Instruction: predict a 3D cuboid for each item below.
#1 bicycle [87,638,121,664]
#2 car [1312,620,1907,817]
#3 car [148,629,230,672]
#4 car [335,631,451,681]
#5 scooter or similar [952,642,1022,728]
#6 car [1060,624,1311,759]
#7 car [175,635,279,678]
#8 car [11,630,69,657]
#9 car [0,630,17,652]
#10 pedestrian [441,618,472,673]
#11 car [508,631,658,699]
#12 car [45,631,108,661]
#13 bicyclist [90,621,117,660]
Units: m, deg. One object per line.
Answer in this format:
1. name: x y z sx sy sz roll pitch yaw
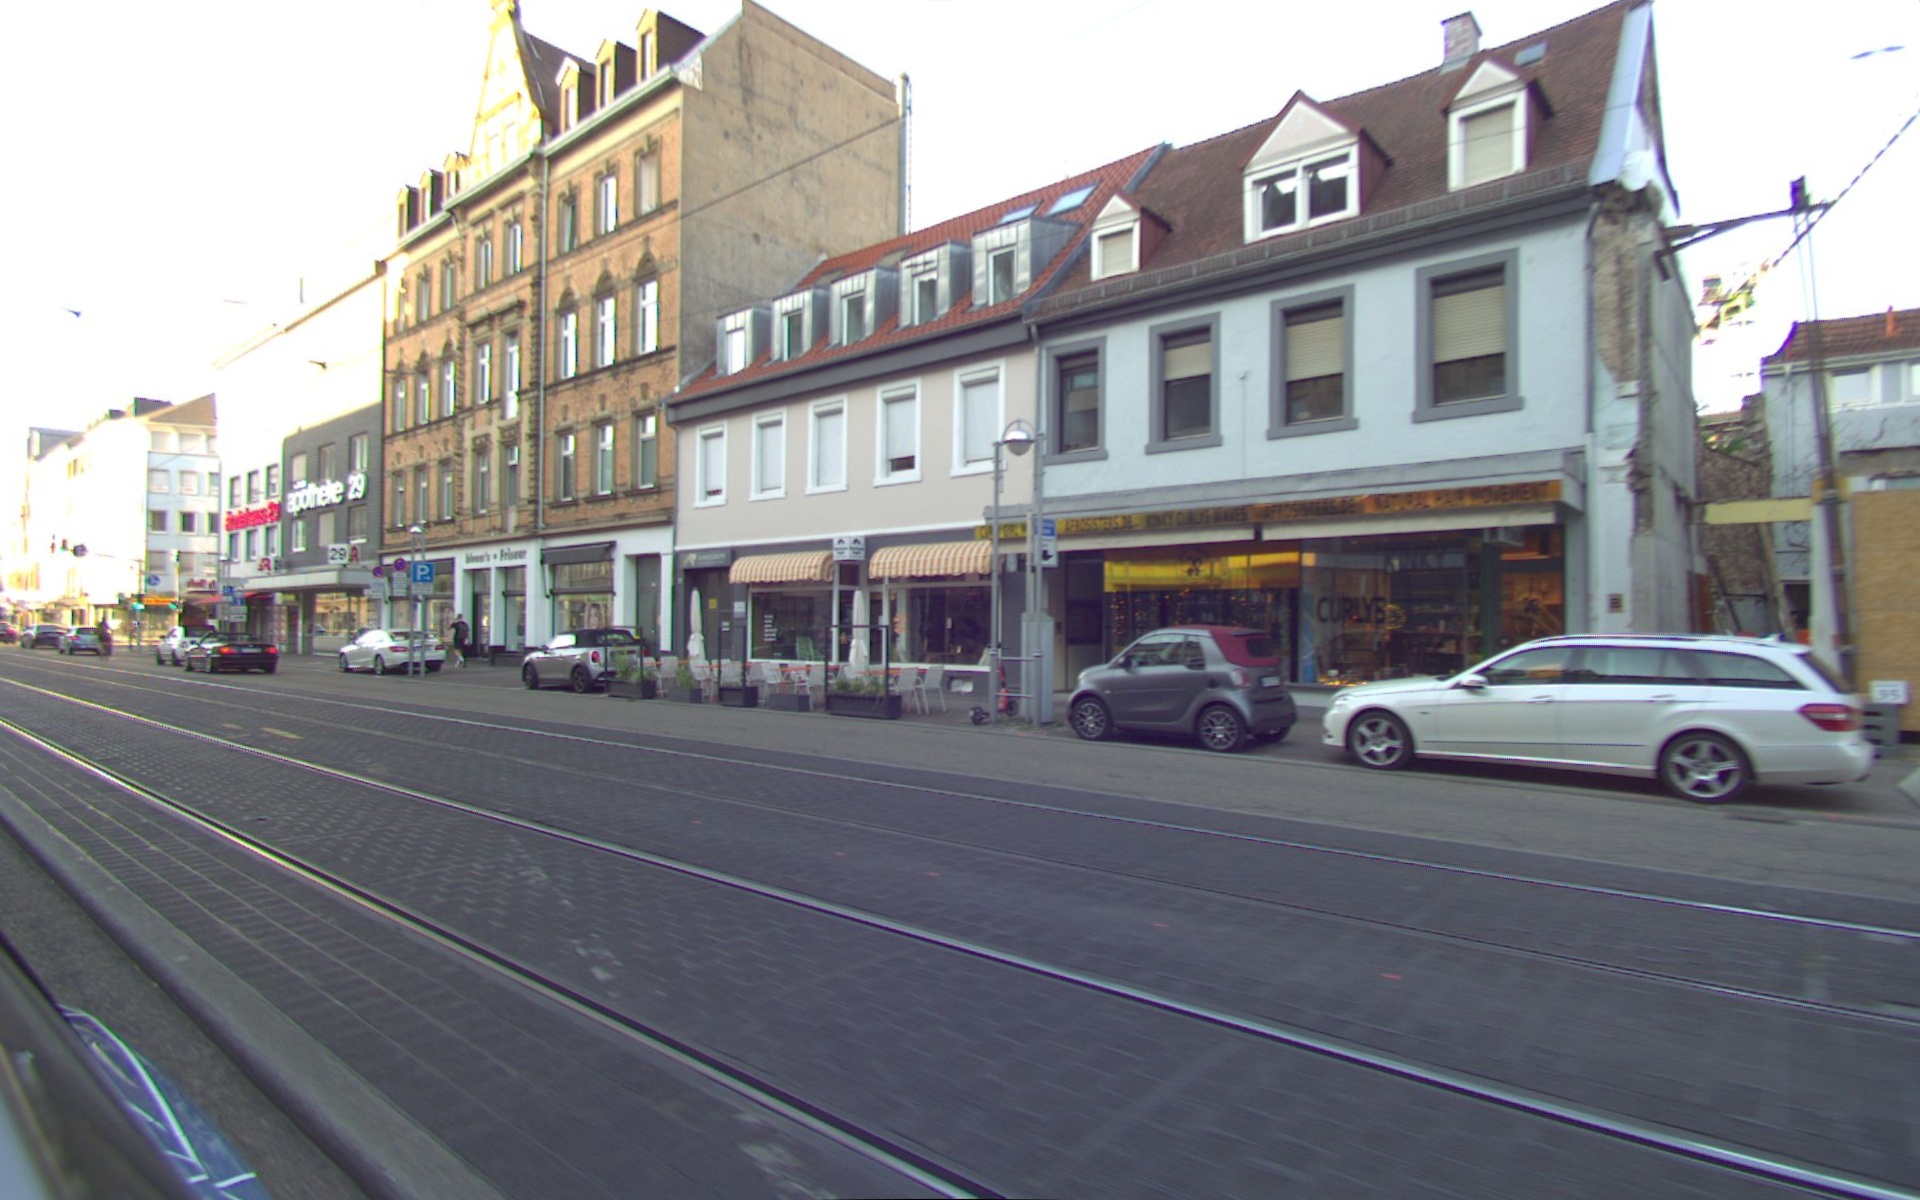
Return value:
1. bicycle: -35.114 2.088 41.498 2.080 1.042 0.686 -1 -2 40
2. car: 6.364 1.007 10.420 4.839 1.516 1.830 -1 0 41
3. car: -28.969 1.869 38.009 3.678 1.517 1.650 -1 -4 41
4. car: -18.003 1.715 32.037 4.269 1.400 1.742 -1 0 39
5. scooter or similar: 0.432 1.298 15.726 0.294 1.214 1.300 -1 0 41
6. car: 2.945 1.109 13.362 2.810 1.516 1.575 -1 0 40
7. car: -23.009 1.769 31.723 4.271 1.237 1.650 -1 -4 41
8. car: -52.156 2.452 57.344 4.562 1.397 1.894 -1 -4 42
9. car: -64.687 2.706 67.673 4.562 1.397 1.894 -1 -4 42
10. pedestrian: -16.815 1.507 33.777 0.854 1.786 0.641 -2 -1 41
11. car: -9.019 1.478 24.074 3.863 1.400 1.716 -1 0 42
12. car: -43.294 2.253 49.575 4.059 1.397 1.739 -1 -4 42
13. bicyclist: -35.171 1.655 41.570 0.798 1.577 0.686 -1 -2 39
